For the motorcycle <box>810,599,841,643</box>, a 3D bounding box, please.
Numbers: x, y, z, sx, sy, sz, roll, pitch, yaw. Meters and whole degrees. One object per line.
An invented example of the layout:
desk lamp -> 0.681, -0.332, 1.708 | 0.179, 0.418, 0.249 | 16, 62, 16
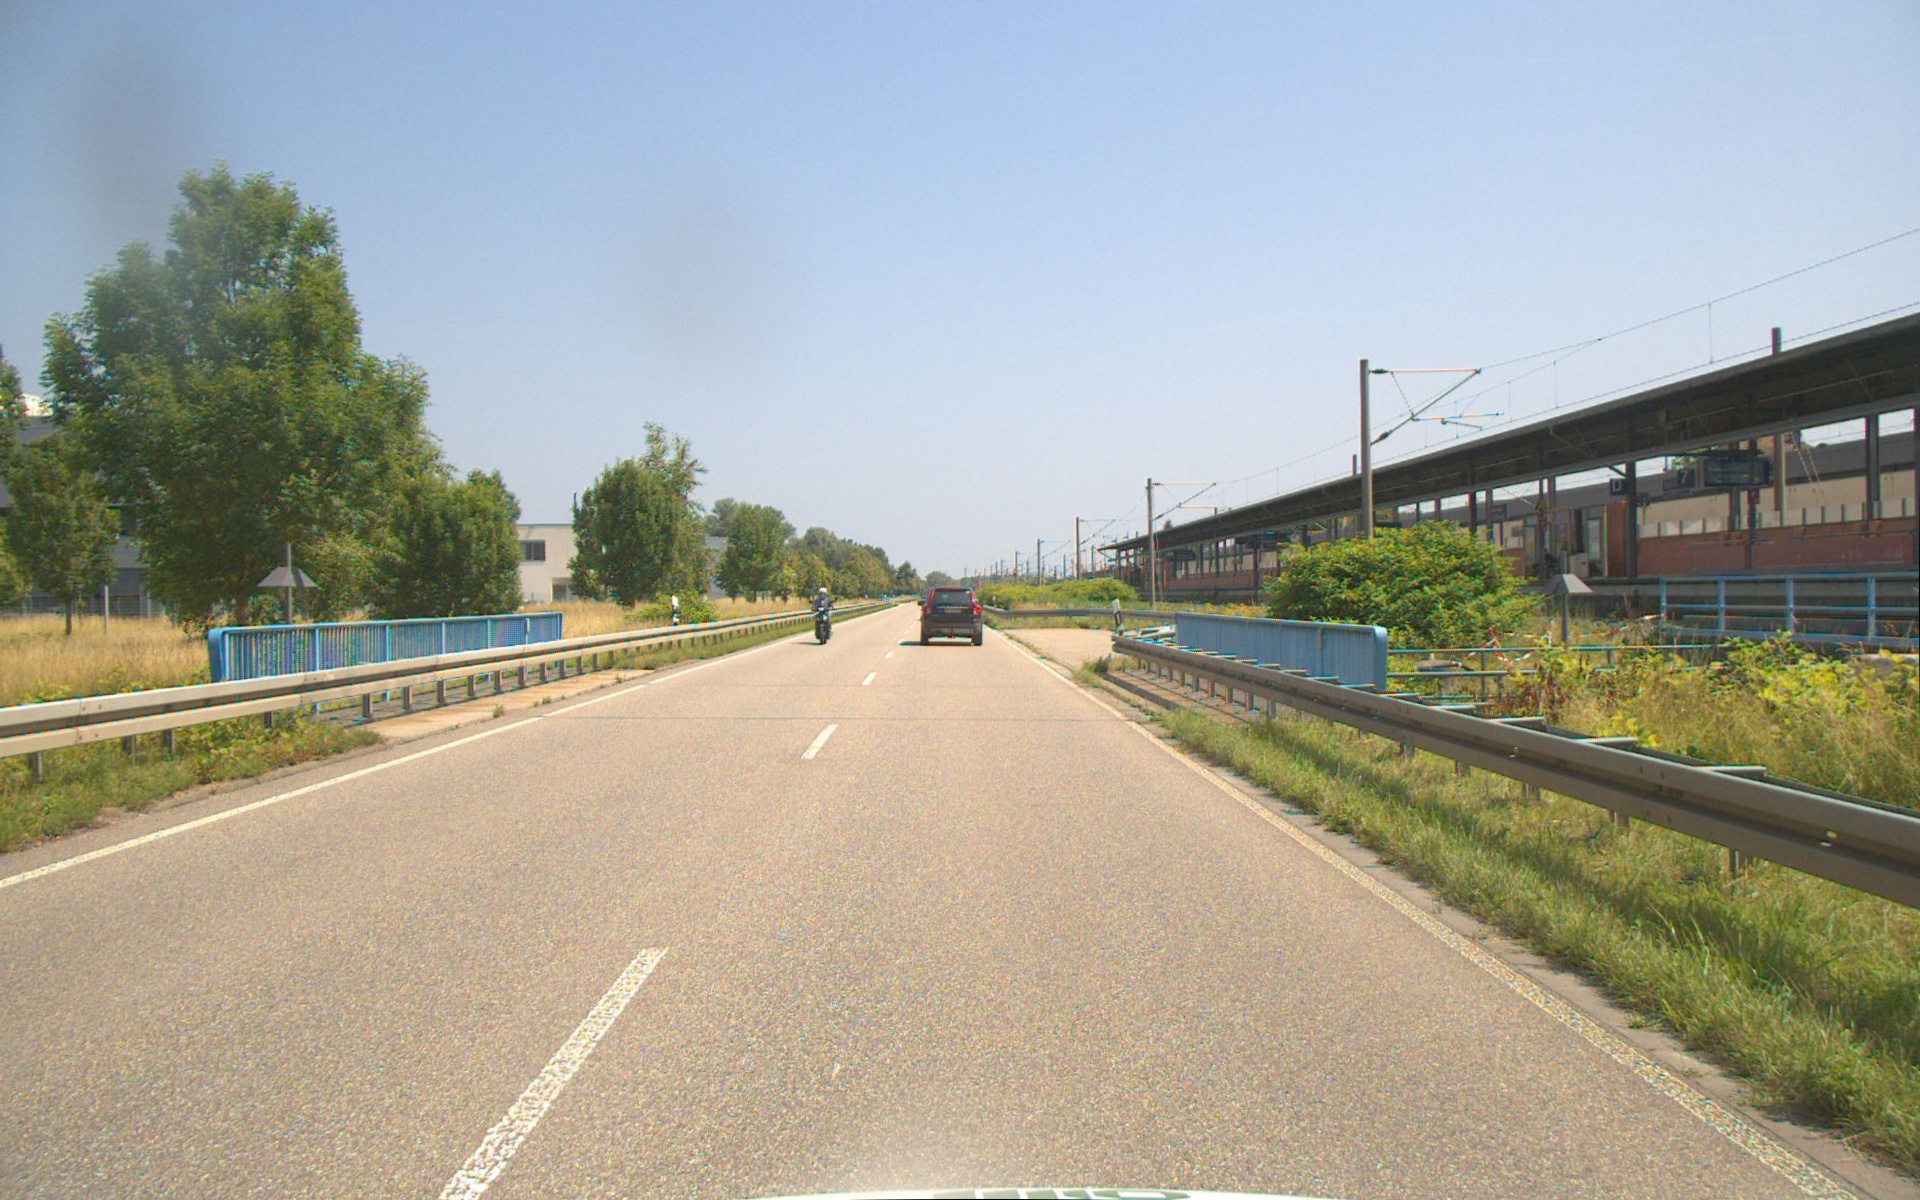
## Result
motorcycle -> -3.997, 0.605, 49.260 | 0.674, 1.256, 2.370 | 0, 0, 2

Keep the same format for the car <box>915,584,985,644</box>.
car -> -0.343, 0.388, 49.985 | 1.954, 1.730, 3.997 | 0, 0, -3

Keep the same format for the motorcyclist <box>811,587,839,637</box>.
motorcyclist -> -4.019, 0.357, 49.291 | 0.711, 1.490, 0.987 | 0, 0, 2
